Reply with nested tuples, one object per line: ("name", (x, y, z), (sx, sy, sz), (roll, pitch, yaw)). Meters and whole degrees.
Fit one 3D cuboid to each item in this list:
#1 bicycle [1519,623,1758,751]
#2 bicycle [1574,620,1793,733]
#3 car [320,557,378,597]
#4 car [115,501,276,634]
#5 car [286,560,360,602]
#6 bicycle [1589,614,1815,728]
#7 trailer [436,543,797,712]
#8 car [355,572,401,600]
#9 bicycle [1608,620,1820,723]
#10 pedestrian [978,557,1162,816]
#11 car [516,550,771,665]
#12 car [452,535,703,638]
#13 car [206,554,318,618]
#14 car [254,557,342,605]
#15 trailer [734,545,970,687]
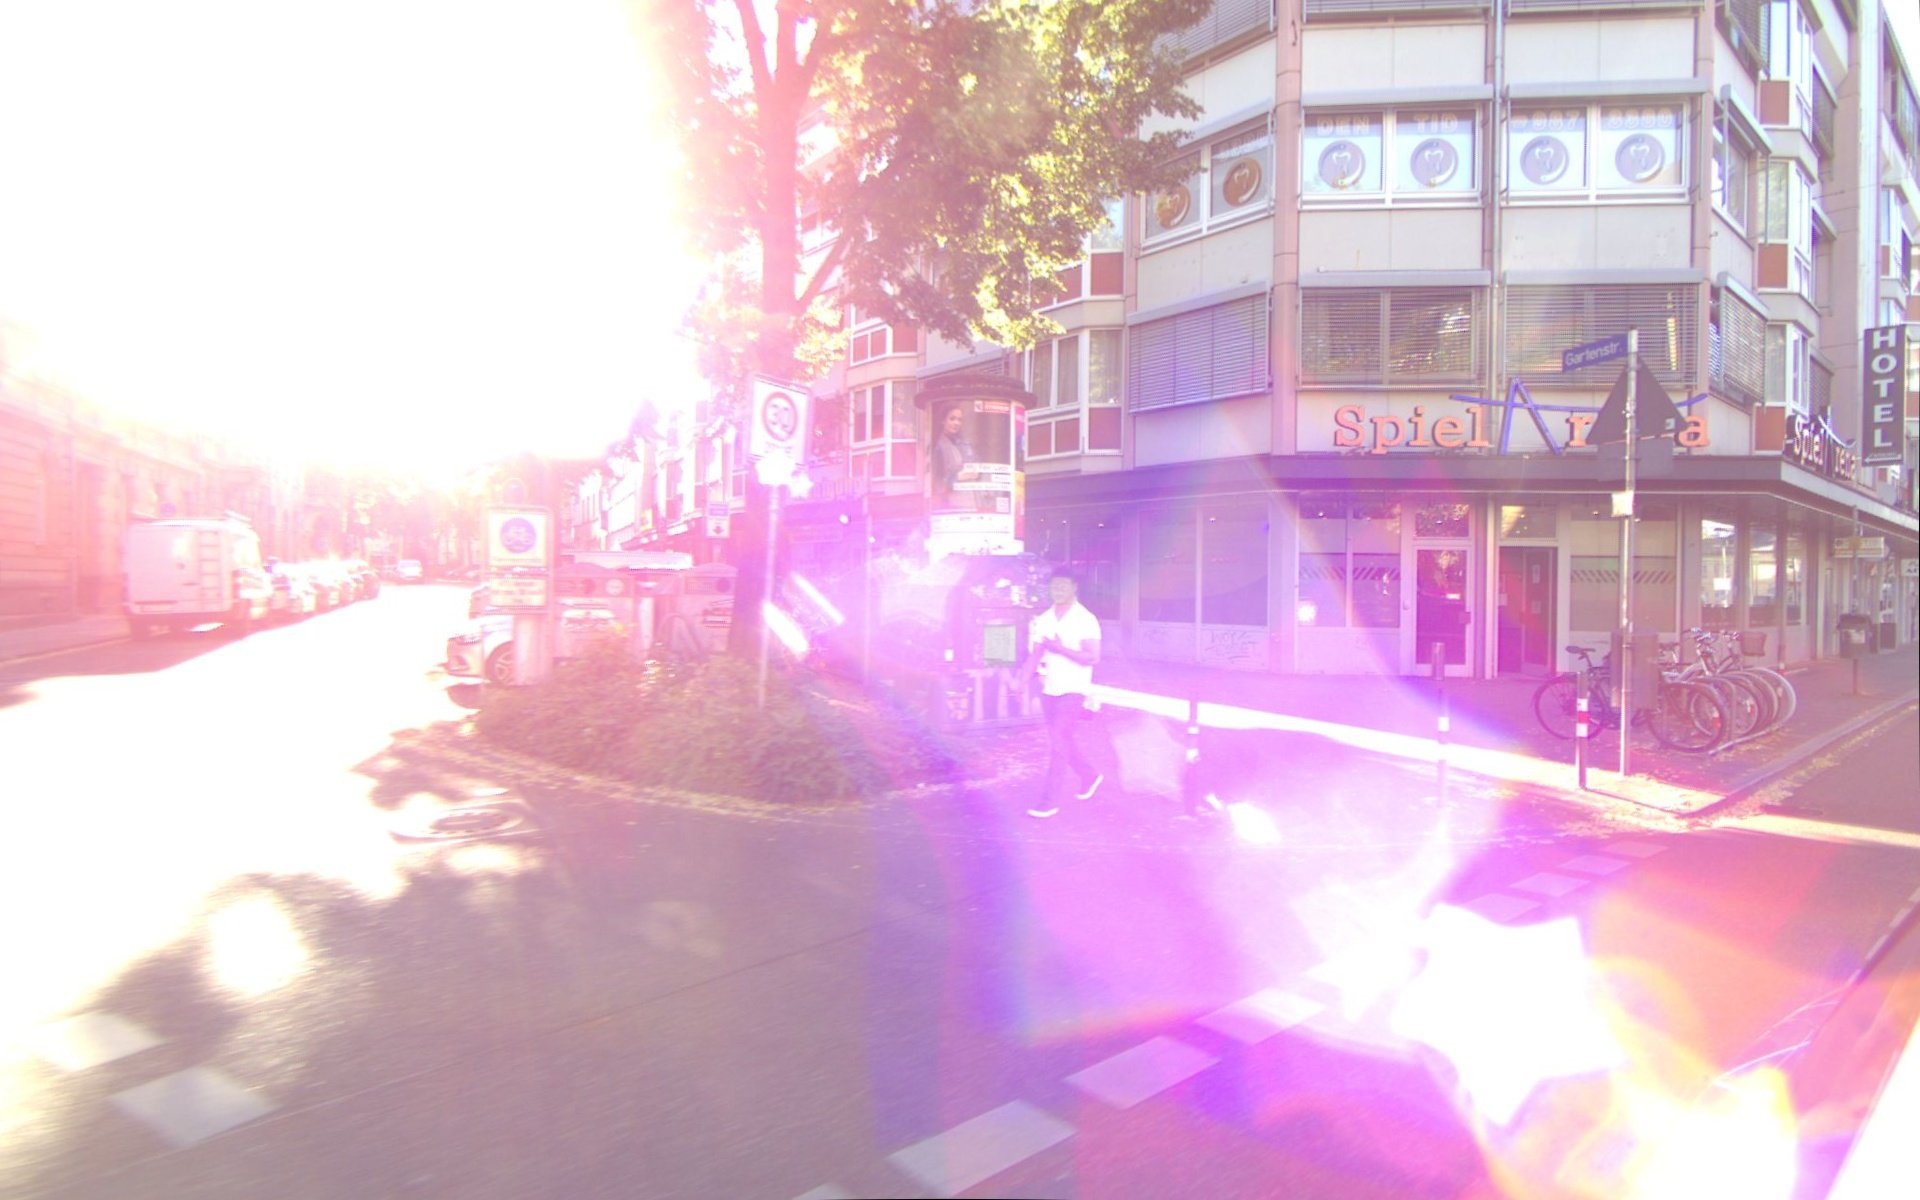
("bicycle", (6.555, 0.791, 9.855), (0.698, 1.067, 1.835), (0, 0, -43))
("bicycle", (7.784, 0.778, 10.950), (0.706, 1.067, 1.835), (0, 0, -43))
("car", (-27.188, -0.996, 45.163), (1.787, 1.688, 4.222), (-1, 0, -25))
("car", (-16.435, -0.615, 22.019), (1.933, 2.551, 4.882), (-1, 0, -27))
("car", (-23.419, -0.670, 37.326), (1.787, 1.445, 4.222), (-1, 0, -25))
("bicycle", (8.319, 0.751, 11.427), (0.604, 1.118, 1.972), (0, 1, -43))
("trailer", (-4.145, 0.276, 12.266), (3.852, 1.754, 1.976), (1, 1, -27))
("car", (-31.197, -0.735, 54.310), (1.787, 1.445, 4.222), (-1, 0, -25))
("bicycle", (8.794, 0.790, 11.865), (0.670, 1.060, 1.915), (0, 0, -43))
("pedestrian", (0.788, 0.570, 7.215), (1.015, 1.687, 0.785), (2, -1, -40))
("car", (-5.377, 0.100, 17.186), (3.852, 1.754, 1.976), (-1, 0, -27))
("car", (-8.336, -0.303, 22.299), (4.943, 2.077, 1.908), (-1, 0, -22))
("car", (-18.692, -0.346, 27.288), (1.787, 1.595, 4.222), (-1, 0, -25))
("car", (-21.303, -0.564, 32.714), (1.787, 1.445, 4.222), (-1, 0, -25))
("trailer", (-1.596, 0.152, 15.070), (3.122, 1.906, 1.582), (-1, 3, -30))
